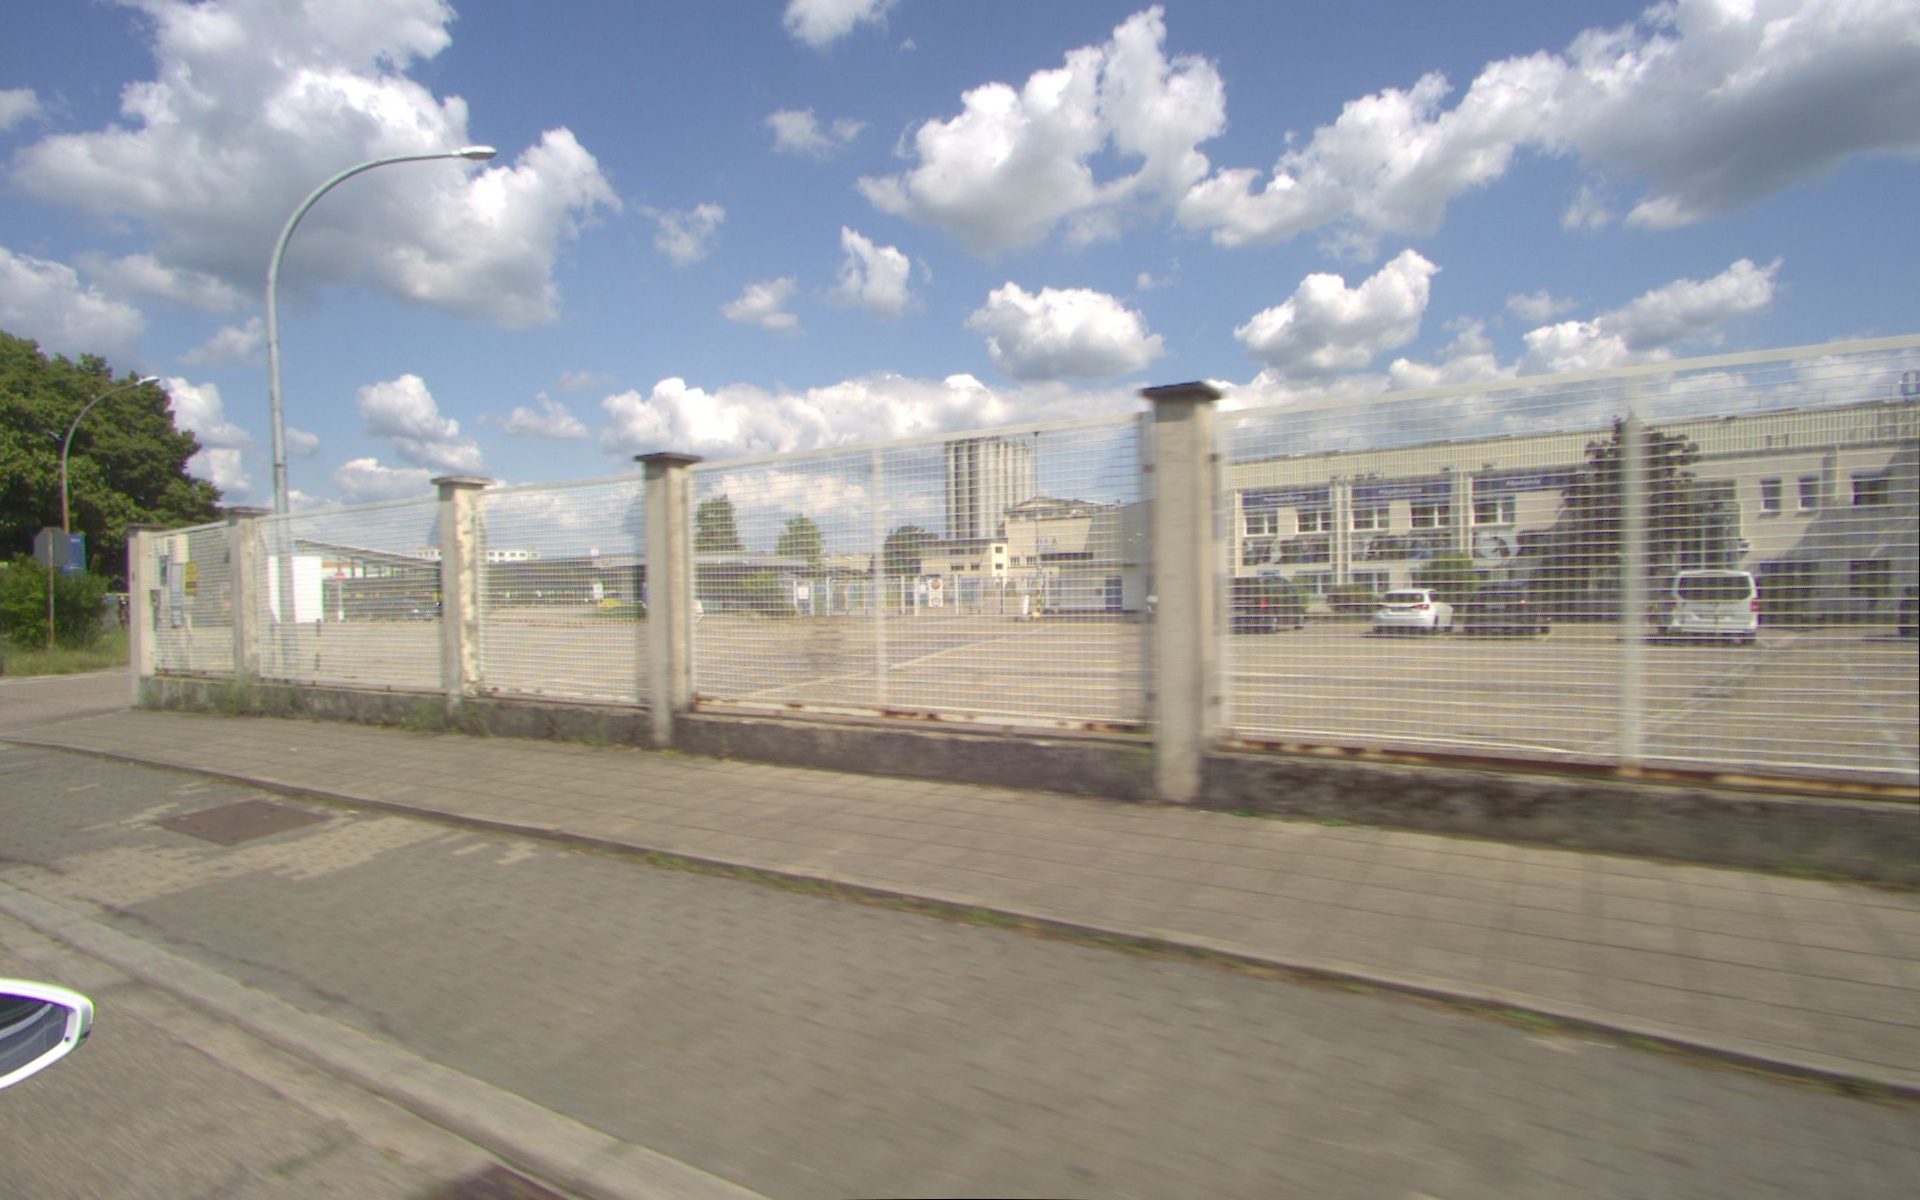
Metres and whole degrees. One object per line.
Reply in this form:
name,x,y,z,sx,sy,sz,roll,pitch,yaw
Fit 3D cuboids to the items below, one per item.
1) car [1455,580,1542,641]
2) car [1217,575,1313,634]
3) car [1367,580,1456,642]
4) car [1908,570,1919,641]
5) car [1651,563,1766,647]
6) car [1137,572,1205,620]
car,15.934,0.272,29.558,1.908,1.662,3.899,0,1,34
car,10.426,0.164,34.054,1.908,1.878,4.379,1,0,34
car,14.000,0.306,30.932,1.908,1.662,3.898,0,3,34
car,24.230,0.135,24.054,1.894,1.672,3.968,0,-1,41
car,20.038,0.047,27.002,1.906,1.975,5.042,0,3,30
car,10.102,-0.209,47.710,1.906,2.061,4.380,0,3,30
